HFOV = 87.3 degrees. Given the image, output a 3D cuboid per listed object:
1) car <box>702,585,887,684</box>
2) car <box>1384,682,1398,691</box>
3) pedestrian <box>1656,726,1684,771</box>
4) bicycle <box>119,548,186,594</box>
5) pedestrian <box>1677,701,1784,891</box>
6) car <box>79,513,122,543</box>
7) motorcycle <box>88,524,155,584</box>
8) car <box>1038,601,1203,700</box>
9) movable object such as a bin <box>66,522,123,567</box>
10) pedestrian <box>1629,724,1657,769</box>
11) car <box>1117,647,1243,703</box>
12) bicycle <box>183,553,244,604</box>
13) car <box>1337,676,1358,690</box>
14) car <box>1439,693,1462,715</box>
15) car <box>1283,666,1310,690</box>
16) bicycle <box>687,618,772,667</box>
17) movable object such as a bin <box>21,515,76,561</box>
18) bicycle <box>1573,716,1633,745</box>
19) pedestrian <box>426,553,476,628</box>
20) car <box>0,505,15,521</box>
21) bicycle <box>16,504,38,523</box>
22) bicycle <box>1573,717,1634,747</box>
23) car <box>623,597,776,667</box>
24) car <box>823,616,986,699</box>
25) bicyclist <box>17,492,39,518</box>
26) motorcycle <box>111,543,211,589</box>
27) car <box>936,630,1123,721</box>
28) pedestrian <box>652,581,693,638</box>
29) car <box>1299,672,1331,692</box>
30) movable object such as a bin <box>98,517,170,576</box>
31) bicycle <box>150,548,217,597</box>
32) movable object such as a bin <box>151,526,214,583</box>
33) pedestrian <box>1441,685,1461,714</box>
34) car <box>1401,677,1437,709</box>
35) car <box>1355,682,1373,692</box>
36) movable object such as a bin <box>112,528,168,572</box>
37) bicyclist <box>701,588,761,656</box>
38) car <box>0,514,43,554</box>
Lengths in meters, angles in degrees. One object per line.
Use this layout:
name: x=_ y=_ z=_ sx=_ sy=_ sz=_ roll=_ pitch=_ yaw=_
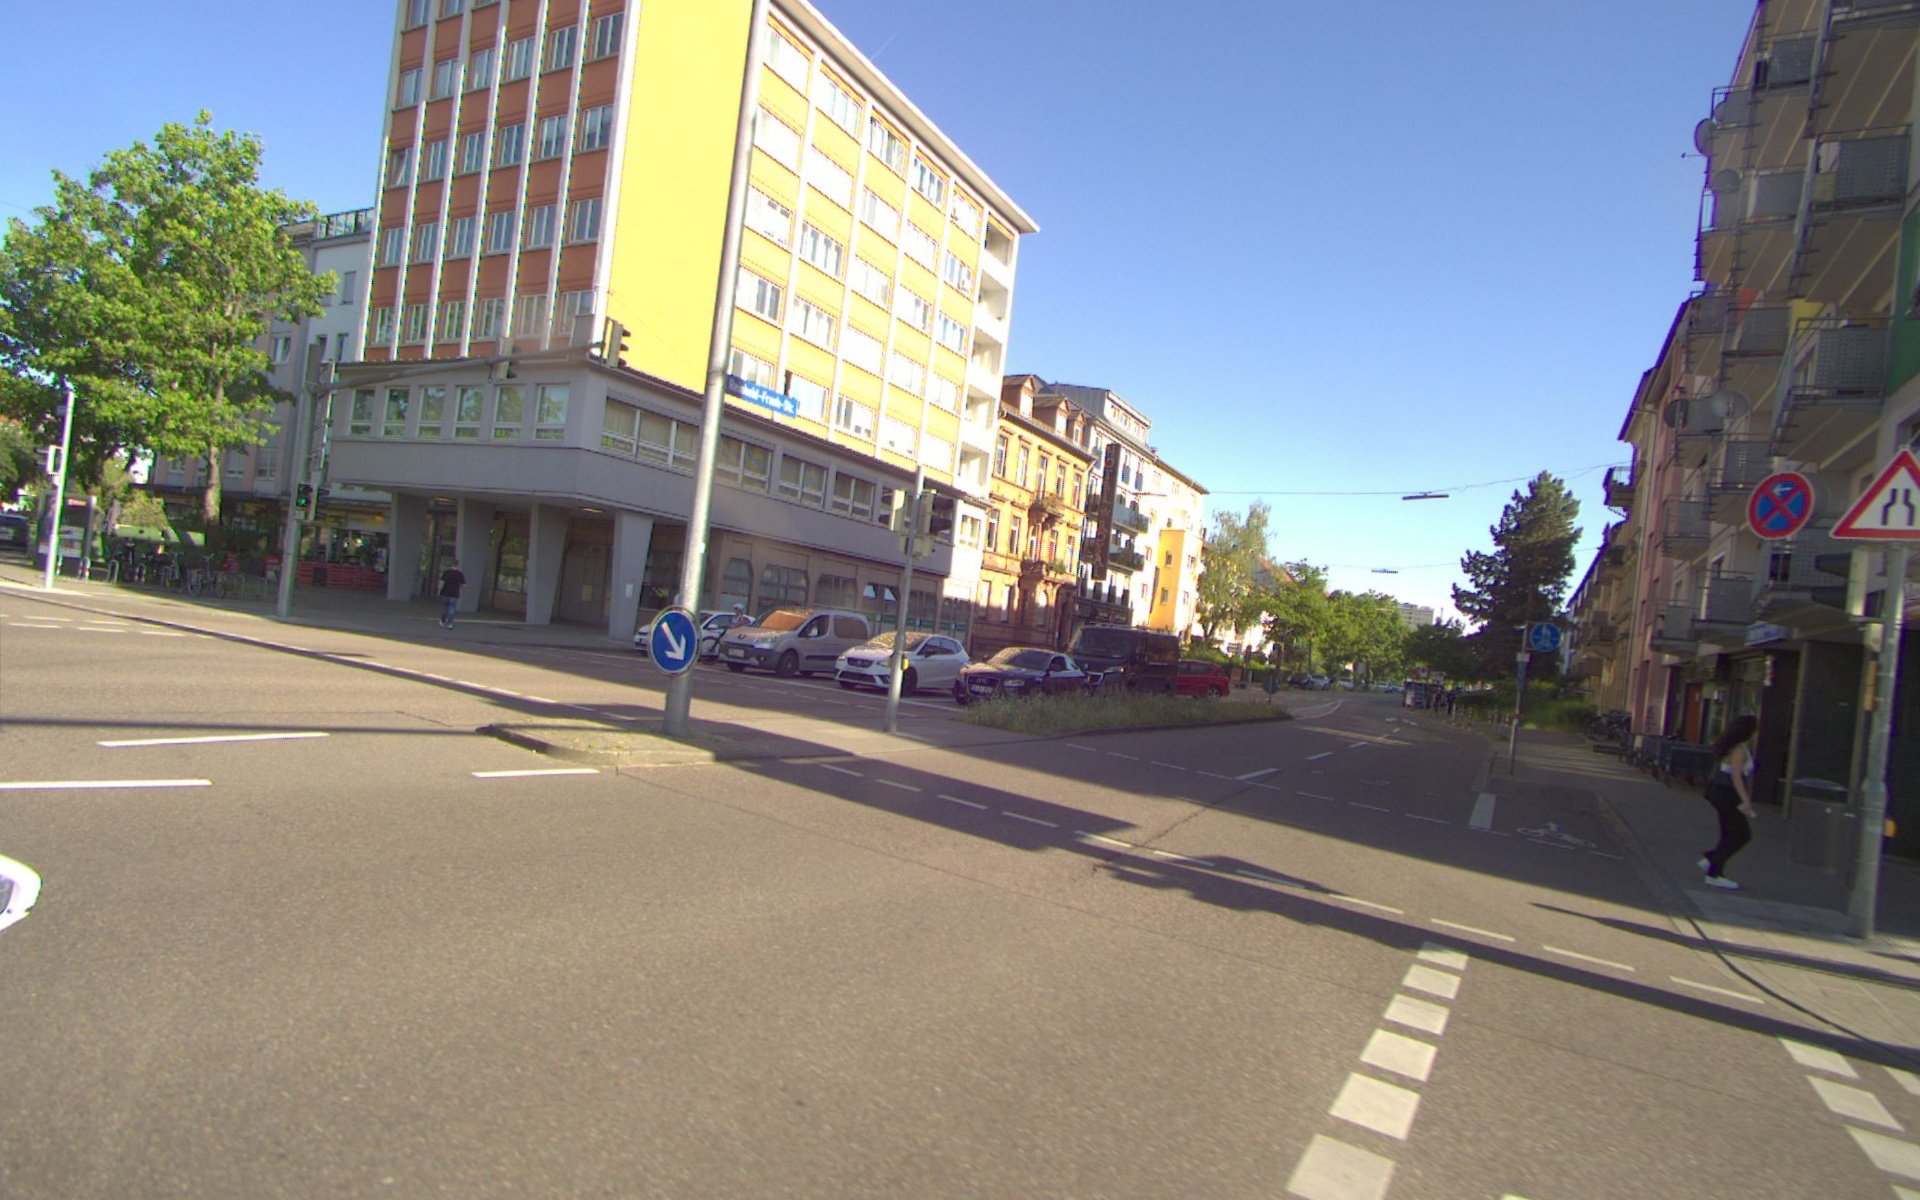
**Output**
car: x=-3.922 y=0.929 z=24.767 sx=1.914 sy=1.870 sz=4.601 roll=6 pitch=-4 yaw=29
car: x=69.084 y=13.831 z=161.076 sx=1.964 sy=1.059 sz=3.999 roll=7 pitch=-1 yaw=24
pedestrian: x=20.227 y=4.237 z=28.672 sx=0.521 sy=1.181 sz=0.562 roll=7 pitch=0 yaw=34
bicycle: x=-21.679 y=-0.786 z=27.001 sx=2.082 sy=0.995 sz=0.477 roll=6 pitch=-3 yaw=26
pedestrian: x=7.880 y=1.973 z=10.318 sx=0.653 sy=1.794 sz=0.568 roll=7 pitch=-1 yaw=31
car: x=-65.095 y=-5.409 z=76.218 sx=1.984 sy=1.832 sz=4.268 roll=9 pitch=-4 yaw=-37
motorcycle: x=-25.450 y=-1.407 z=30.516 sx=2.506 sy=1.557 sz=0.803 roll=6 pitch=-2 yaw=36
car: x=4.510 y=1.455 z=27.494 sx=2.339 sy=2.225 sz=5.244 roll=6 pitch=-1 yaw=33
movable object such as a bin: x=-31.115 y=-1.981 z=36.165 sx=0.912 sy=1.371 sz=1.175 roll=6 pitch=-3 yaw=31
pedestrian: x=19.618 y=4.204 z=28.906 sx=0.552 sy=1.181 sz=0.548 roll=7 pitch=0 yaw=34
car: x=8.438 y=2.877 z=38.871 sx=4.303 sy=1.554 sz=1.827 roll=7 pitch=-1 yaw=-2
bicycle: x=-21.297 y=-0.625 z=28.707 sx=1.815 sy=1.258 sz=0.533 roll=6 pitch=-3 yaw=28
car: x=43.852 y=9.407 z=113.868 sx=1.964 sy=1.325 sz=3.999 roll=7 pitch=-1 yaw=24
car: x=55.057 y=11.700 z=112.945 sx=1.966 sy=2.035 sz=4.246 roll=6 pitch=-4 yaw=29
car: x=29.532 y=6.837 z=88.246 sx=1.963 sy=1.740 sz=4.252 roll=6 pitch=-3 yaw=20
bicycle: x=-5.908 y=1.102 z=25.917 sx=0.846 sy=1.011 sz=2.149 roll=6 pitch=-4 yaw=27
movable object such as a bin: x=-31.931 y=-2.163 z=35.249 sx=1.277 sy=1.407 sz=0.911 roll=10 pitch=-3 yaw=-43
bicycle: x=25.558 y=5.172 z=40.000 sx=1.884 sy=1.004 sz=0.688 roll=2 pitch=-3 yaw=7
pedestrian: x=-13.513 y=-0.252 z=26.694 sx=0.823 sy=1.865 sz=0.882 roll=9 pitch=-3 yaw=-39
car: x=-127.917 y=-11.788 z=131.915 sx=2.126 sy=1.819 sz=5.282 roll=6 pitch=-4 yaw=27
bicycle: x=-59.683 y=-5.516 z=64.359 sx=0.650 sy=0.969 sz=2.671 roll=9 pitch=-4 yaw=-38
bicycle: x=24.513 y=5.041 z=38.335 sx=1.884 sy=1.004 sz=0.688 roll=3 pitch=-3 yaw=0
car: x=-7.289 y=0.952 z=28.578 sx=1.814 sy=1.518 sz=4.164 roll=4 pitch=-4 yaw=27
car: x=-1.161 y=1.376 z=23.020 sx=1.817 sy=1.456 sz=4.001 roll=6 pitch=-4 yaw=27
bicyclist: x=-59.579 y=-6.090 z=64.329 sx=0.783 sy=1.469 sz=1.085 roll=9 pitch=-3 yaw=-38
motorcycle: x=-23.619 y=-0.995 z=29.778 sx=0.749 sy=1.033 sz=2.102 roll=7 pitch=-3 yaw=30
car: x=1.617 y=1.702 z=22.051 sx=1.946 sy=1.484 sz=4.149 roll=5 pitch=-4 yaw=39
pedestrian: x=-9.808 y=0.349 z=34.354 sx=0.883 sy=1.798 sz=0.858 roll=7 pitch=-2 yaw=2
car: x=34.070 y=7.883 z=96.532 sx=1.968 sy=1.457 sz=3.996 roll=5 pitch=-4 yaw=33
movable object such as a bin: x=-26.845 y=-1.721 z=32.719 sx=0.991 sy=1.658 sz=1.384 roll=6 pitch=-2 yaw=29
bicycle: x=-21.334 y=-0.760 z=27.623 sx=2.082 sy=1.129 sz=0.477 roll=6 pitch=-2 yaw=26
movable object such as a bin: x=-26.147 y=-1.509 z=33.844 sx=0.929 sy=1.729 sz=1.258 roll=5 pitch=-1 yaw=29
pedestrian: x=30.739 y=6.238 z=62.975 sx=0.828 sy=1.692 sz=0.779 roll=7 pitch=-2 yaw=12
car: x=34.744 y=7.028 z=76.089 sx=1.966 sy=2.035 sz=4.246 roll=6 pitch=-4 yaw=29
car: x=52.526 y=11.321 z=130.847 sx=1.964 sy=1.059 sz=3.999 roll=7 pitch=-1 yaw=24
movable object such as a bin: x=-30.485 y=-1.856 z=37.419 sx=0.943 sy=1.406 sz=1.216 roll=6 pitch=-3 yaw=31
bicyclist: x=-5.882 y=0.578 z=25.848 sx=0.925 sy=1.577 sz=0.936 roll=6 pitch=-3 yaw=27
car: x=-40.042 y=-2.839 z=42.314 sx=1.757 sy=1.455 sz=4.535 roll=7 pitch=-1 yaw=-38
